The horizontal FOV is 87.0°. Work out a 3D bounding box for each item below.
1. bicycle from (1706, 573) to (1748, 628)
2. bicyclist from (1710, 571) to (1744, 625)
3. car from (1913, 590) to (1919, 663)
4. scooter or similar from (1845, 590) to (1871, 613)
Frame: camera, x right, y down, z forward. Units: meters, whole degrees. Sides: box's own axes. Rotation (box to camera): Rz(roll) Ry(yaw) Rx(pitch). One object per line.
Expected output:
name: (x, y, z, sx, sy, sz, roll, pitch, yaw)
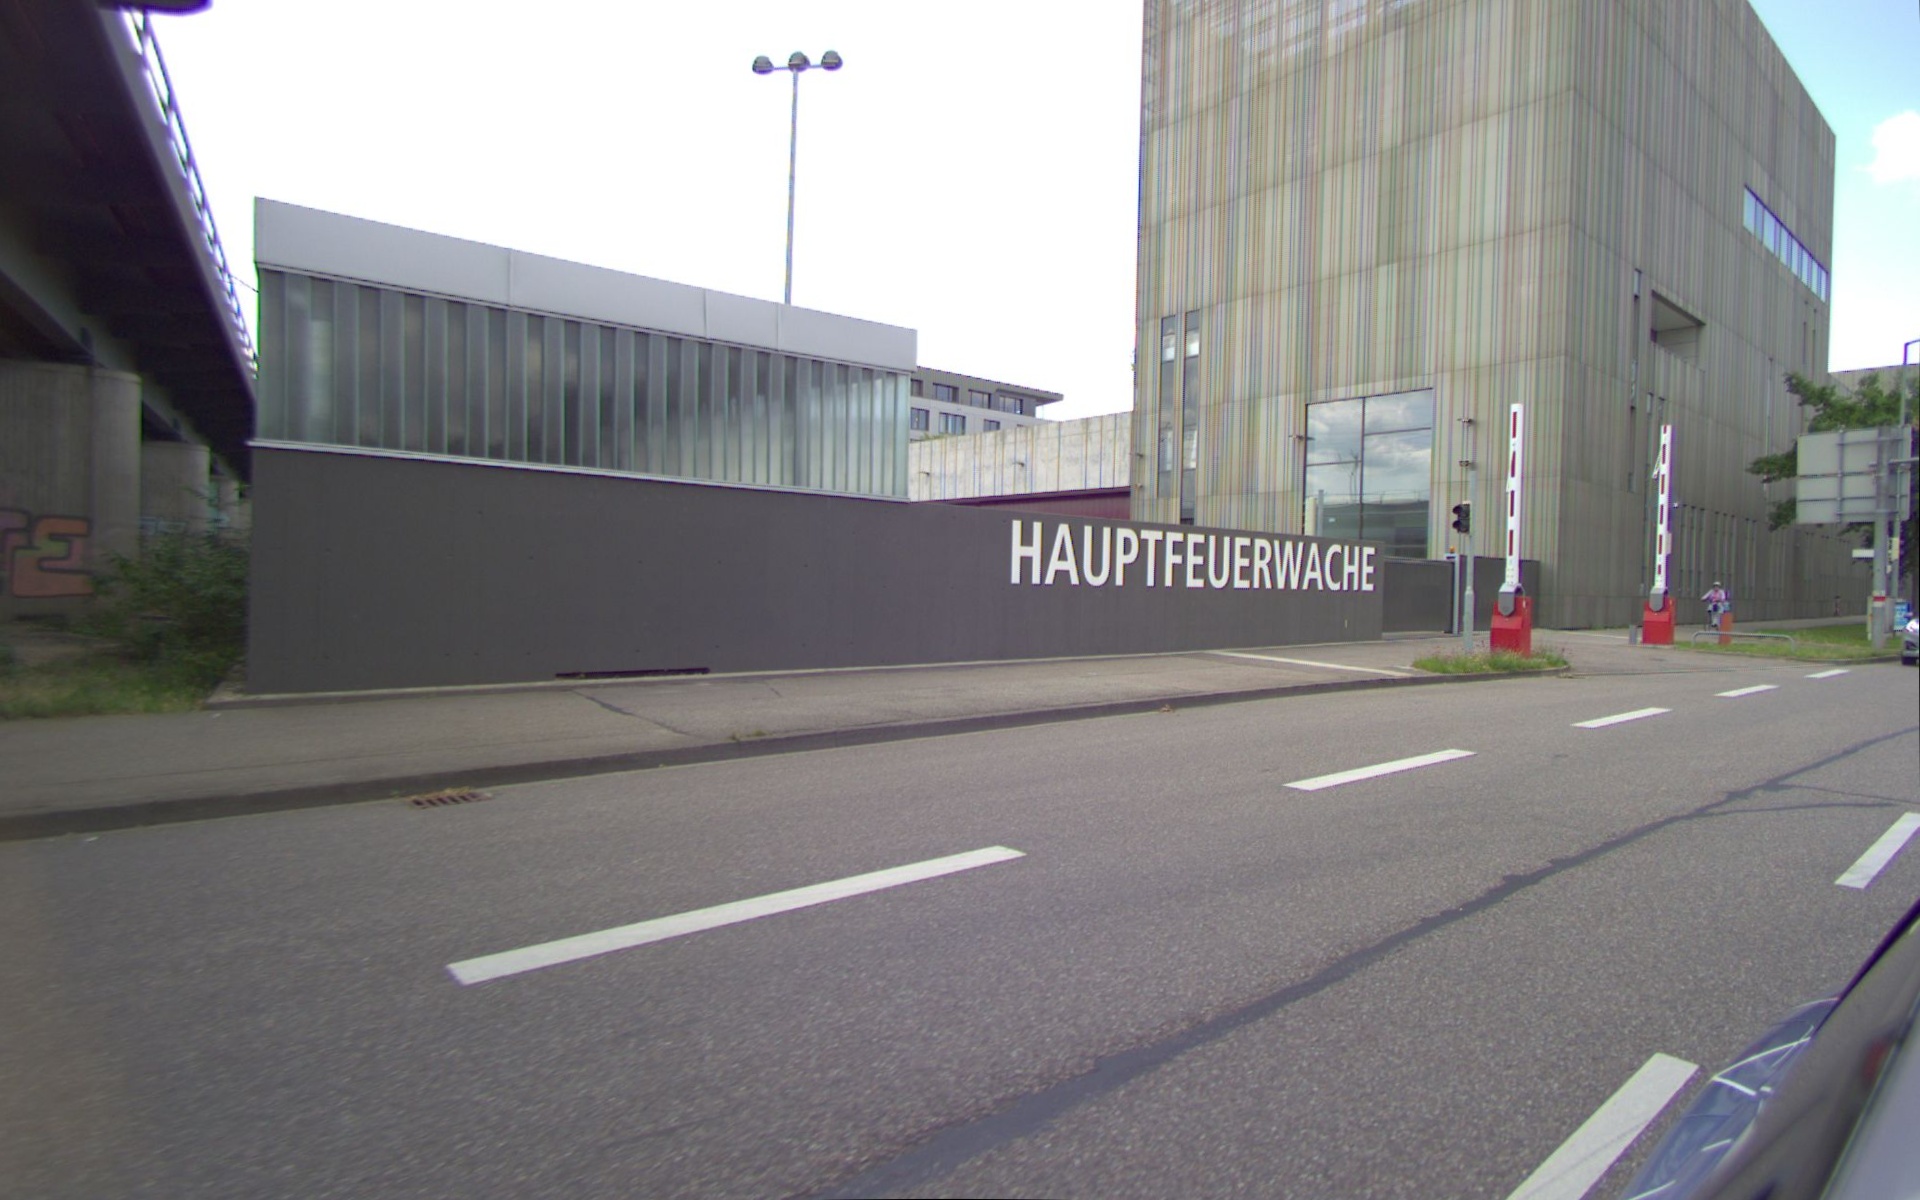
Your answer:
bicycle: (26.168, 0.001, 34.507, 2.491, 1.796, 0.720, 0, 2, -44)
bicyclist: (26.103, -0.064, 34.445, 0.972, 1.791, 0.716, 0, 2, -43)
car: (22.920, 0.581, 22.676, 3.883, 1.594, 1.822, 0, 0, -40)
scooter or similar: (51.662, 0.076, 58.222, 2.435, 1.261, 0.706, 0, 3, -40)
